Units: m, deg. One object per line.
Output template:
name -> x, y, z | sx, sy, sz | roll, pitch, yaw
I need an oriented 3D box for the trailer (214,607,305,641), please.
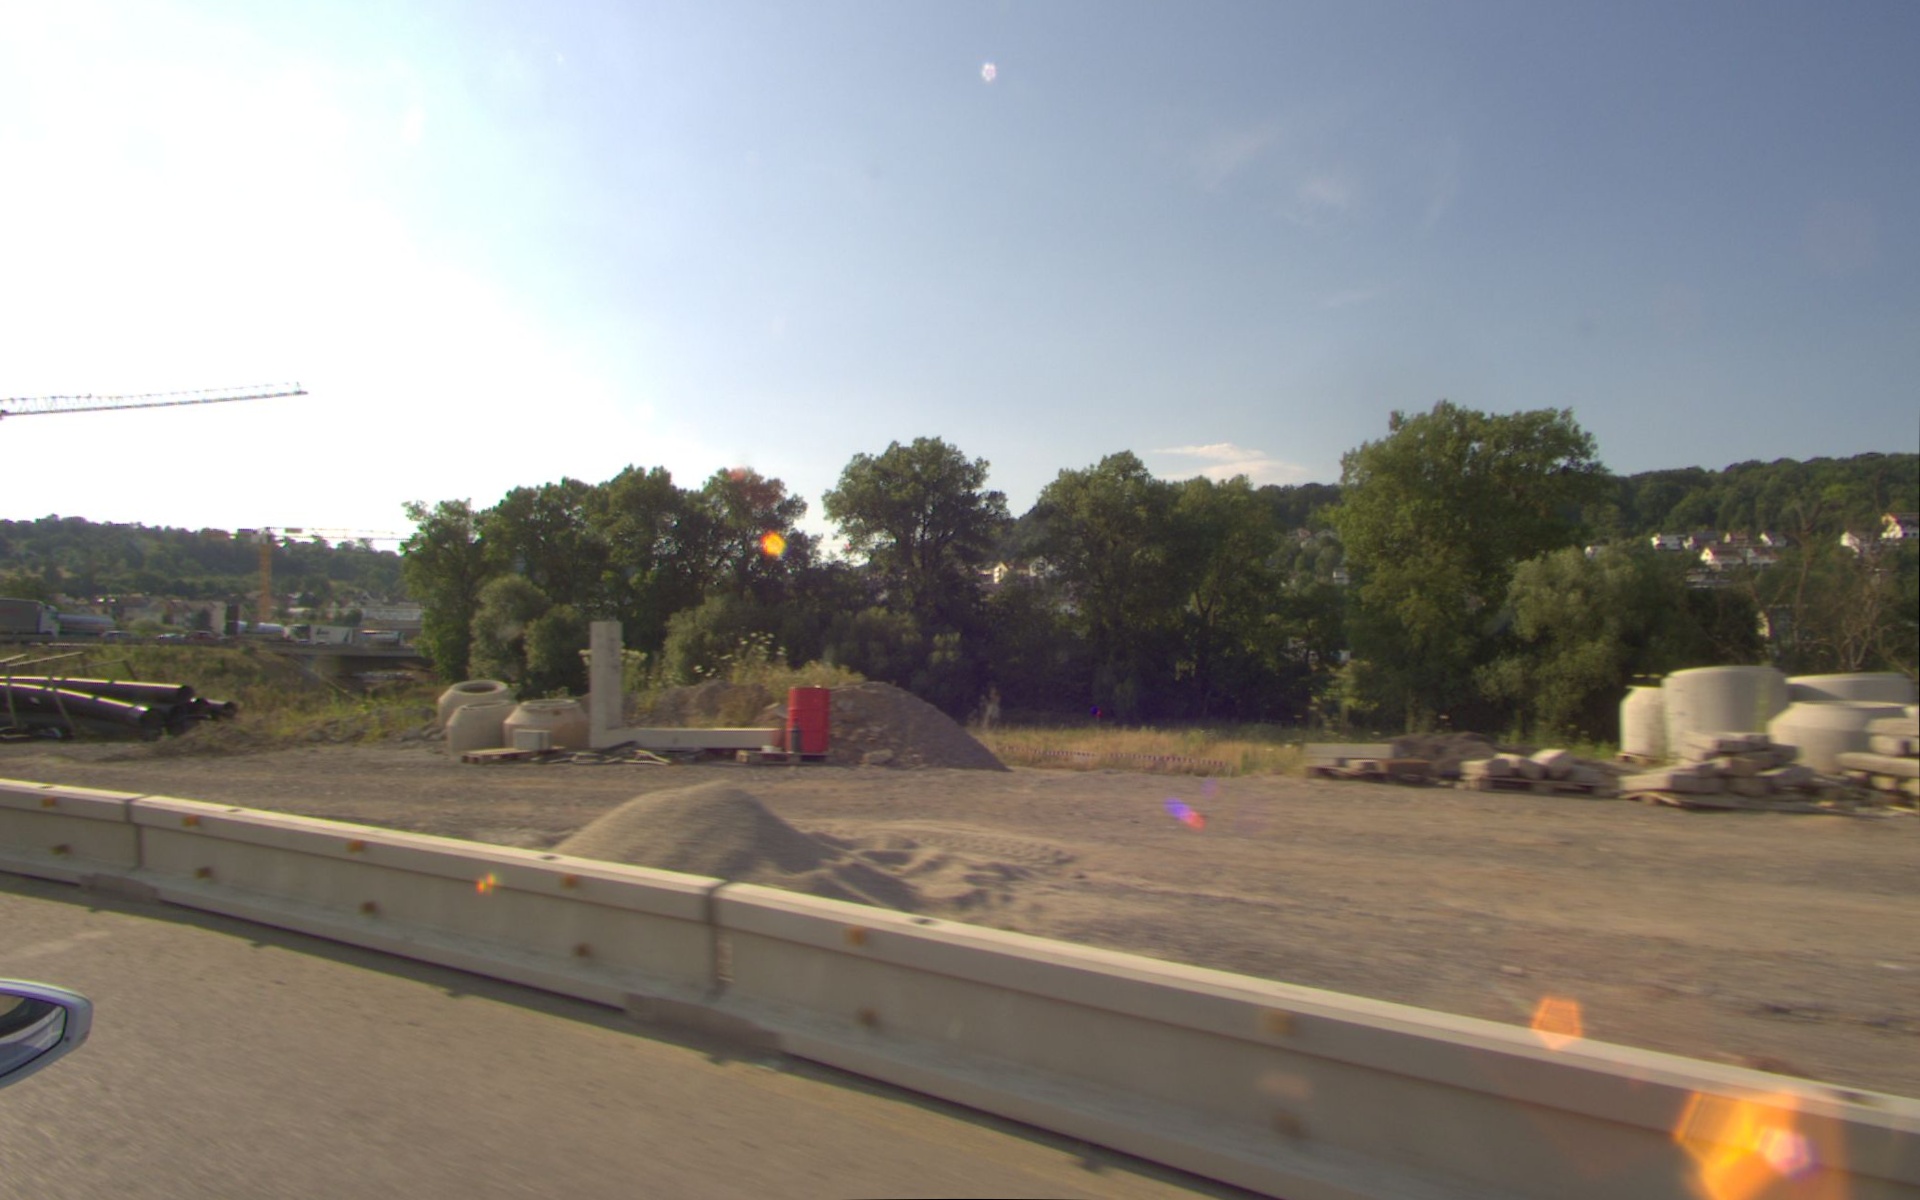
trailer -> -93.323, 3.340, 133.879 | 3.331, 4.045, 14.751 | 2, -3, -7

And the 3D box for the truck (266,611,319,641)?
truck -> -94.273, 3.723, 141.558 | 3.336, 4.046, 6.627 | 2, -3, -7

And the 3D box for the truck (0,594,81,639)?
truck -> -88.750, 1.629, 96.120 | 3.290, 4.046, 6.627 | 2, -3, -7

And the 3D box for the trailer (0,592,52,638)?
trailer -> -87.819, 1.216, 88.319 | 3.331, 4.045, 14.751 | 2, -3, -7

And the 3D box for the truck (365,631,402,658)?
truck -> -98.005, 7.559, 170.383 | 3.049, 4.338, 6.627 | 2, -3, -7

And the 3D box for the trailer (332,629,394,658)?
trailer -> -97.107, 7.179, 163.350 | 3.054, 4.367, 14.257 | 2, -3, -7
